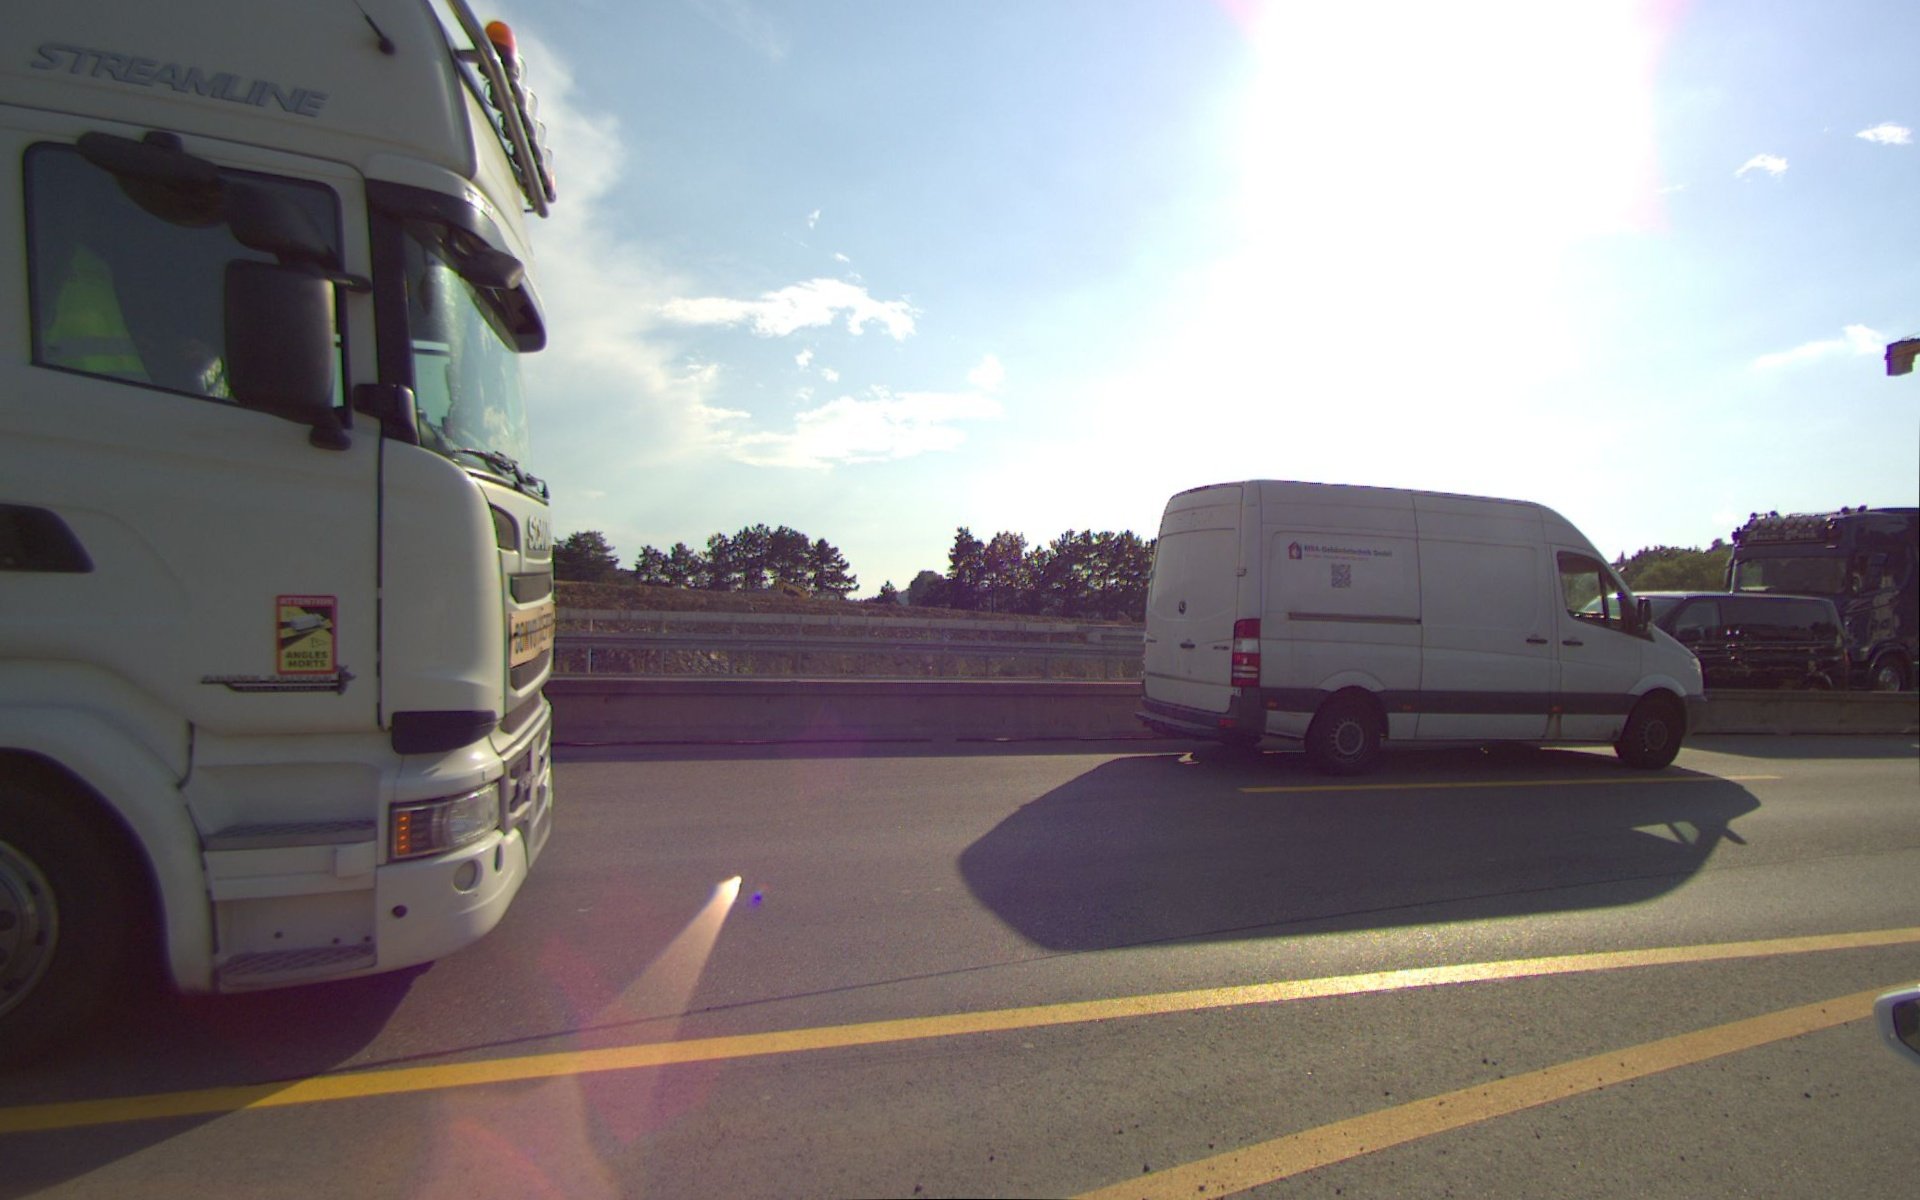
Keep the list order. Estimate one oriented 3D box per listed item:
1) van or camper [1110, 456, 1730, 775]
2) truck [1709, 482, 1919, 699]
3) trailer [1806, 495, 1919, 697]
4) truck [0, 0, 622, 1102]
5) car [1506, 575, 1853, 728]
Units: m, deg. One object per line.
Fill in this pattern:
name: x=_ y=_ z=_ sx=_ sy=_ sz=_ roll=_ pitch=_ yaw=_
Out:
van or camper: x=4.632 y=0.253 z=10.175 sx=5.809 sy=2.654 sz=1.993 roll=3 pitch=0 yaw=-17
truck: x=19.450 y=-0.040 z=21.288 sx=6.029 sy=4.119 sz=2.628 roll=3 pitch=-2 yaw=-16
trailer: x=25.987 y=0.247 z=23.203 sx=13.849 sy=4.119 sz=2.628 roll=3 pitch=-2 yaw=-16
truck: x=-4.424 y=-0.658 z=3.483 sx=5.915 sy=3.929 sz=2.479 roll=3 pitch=-1 yaw=-17
car: x=10.850 y=0.811 z=15.215 sx=4.421 sy=2.040 sz=1.993 roll=3 pitch=-2 yaw=-17
